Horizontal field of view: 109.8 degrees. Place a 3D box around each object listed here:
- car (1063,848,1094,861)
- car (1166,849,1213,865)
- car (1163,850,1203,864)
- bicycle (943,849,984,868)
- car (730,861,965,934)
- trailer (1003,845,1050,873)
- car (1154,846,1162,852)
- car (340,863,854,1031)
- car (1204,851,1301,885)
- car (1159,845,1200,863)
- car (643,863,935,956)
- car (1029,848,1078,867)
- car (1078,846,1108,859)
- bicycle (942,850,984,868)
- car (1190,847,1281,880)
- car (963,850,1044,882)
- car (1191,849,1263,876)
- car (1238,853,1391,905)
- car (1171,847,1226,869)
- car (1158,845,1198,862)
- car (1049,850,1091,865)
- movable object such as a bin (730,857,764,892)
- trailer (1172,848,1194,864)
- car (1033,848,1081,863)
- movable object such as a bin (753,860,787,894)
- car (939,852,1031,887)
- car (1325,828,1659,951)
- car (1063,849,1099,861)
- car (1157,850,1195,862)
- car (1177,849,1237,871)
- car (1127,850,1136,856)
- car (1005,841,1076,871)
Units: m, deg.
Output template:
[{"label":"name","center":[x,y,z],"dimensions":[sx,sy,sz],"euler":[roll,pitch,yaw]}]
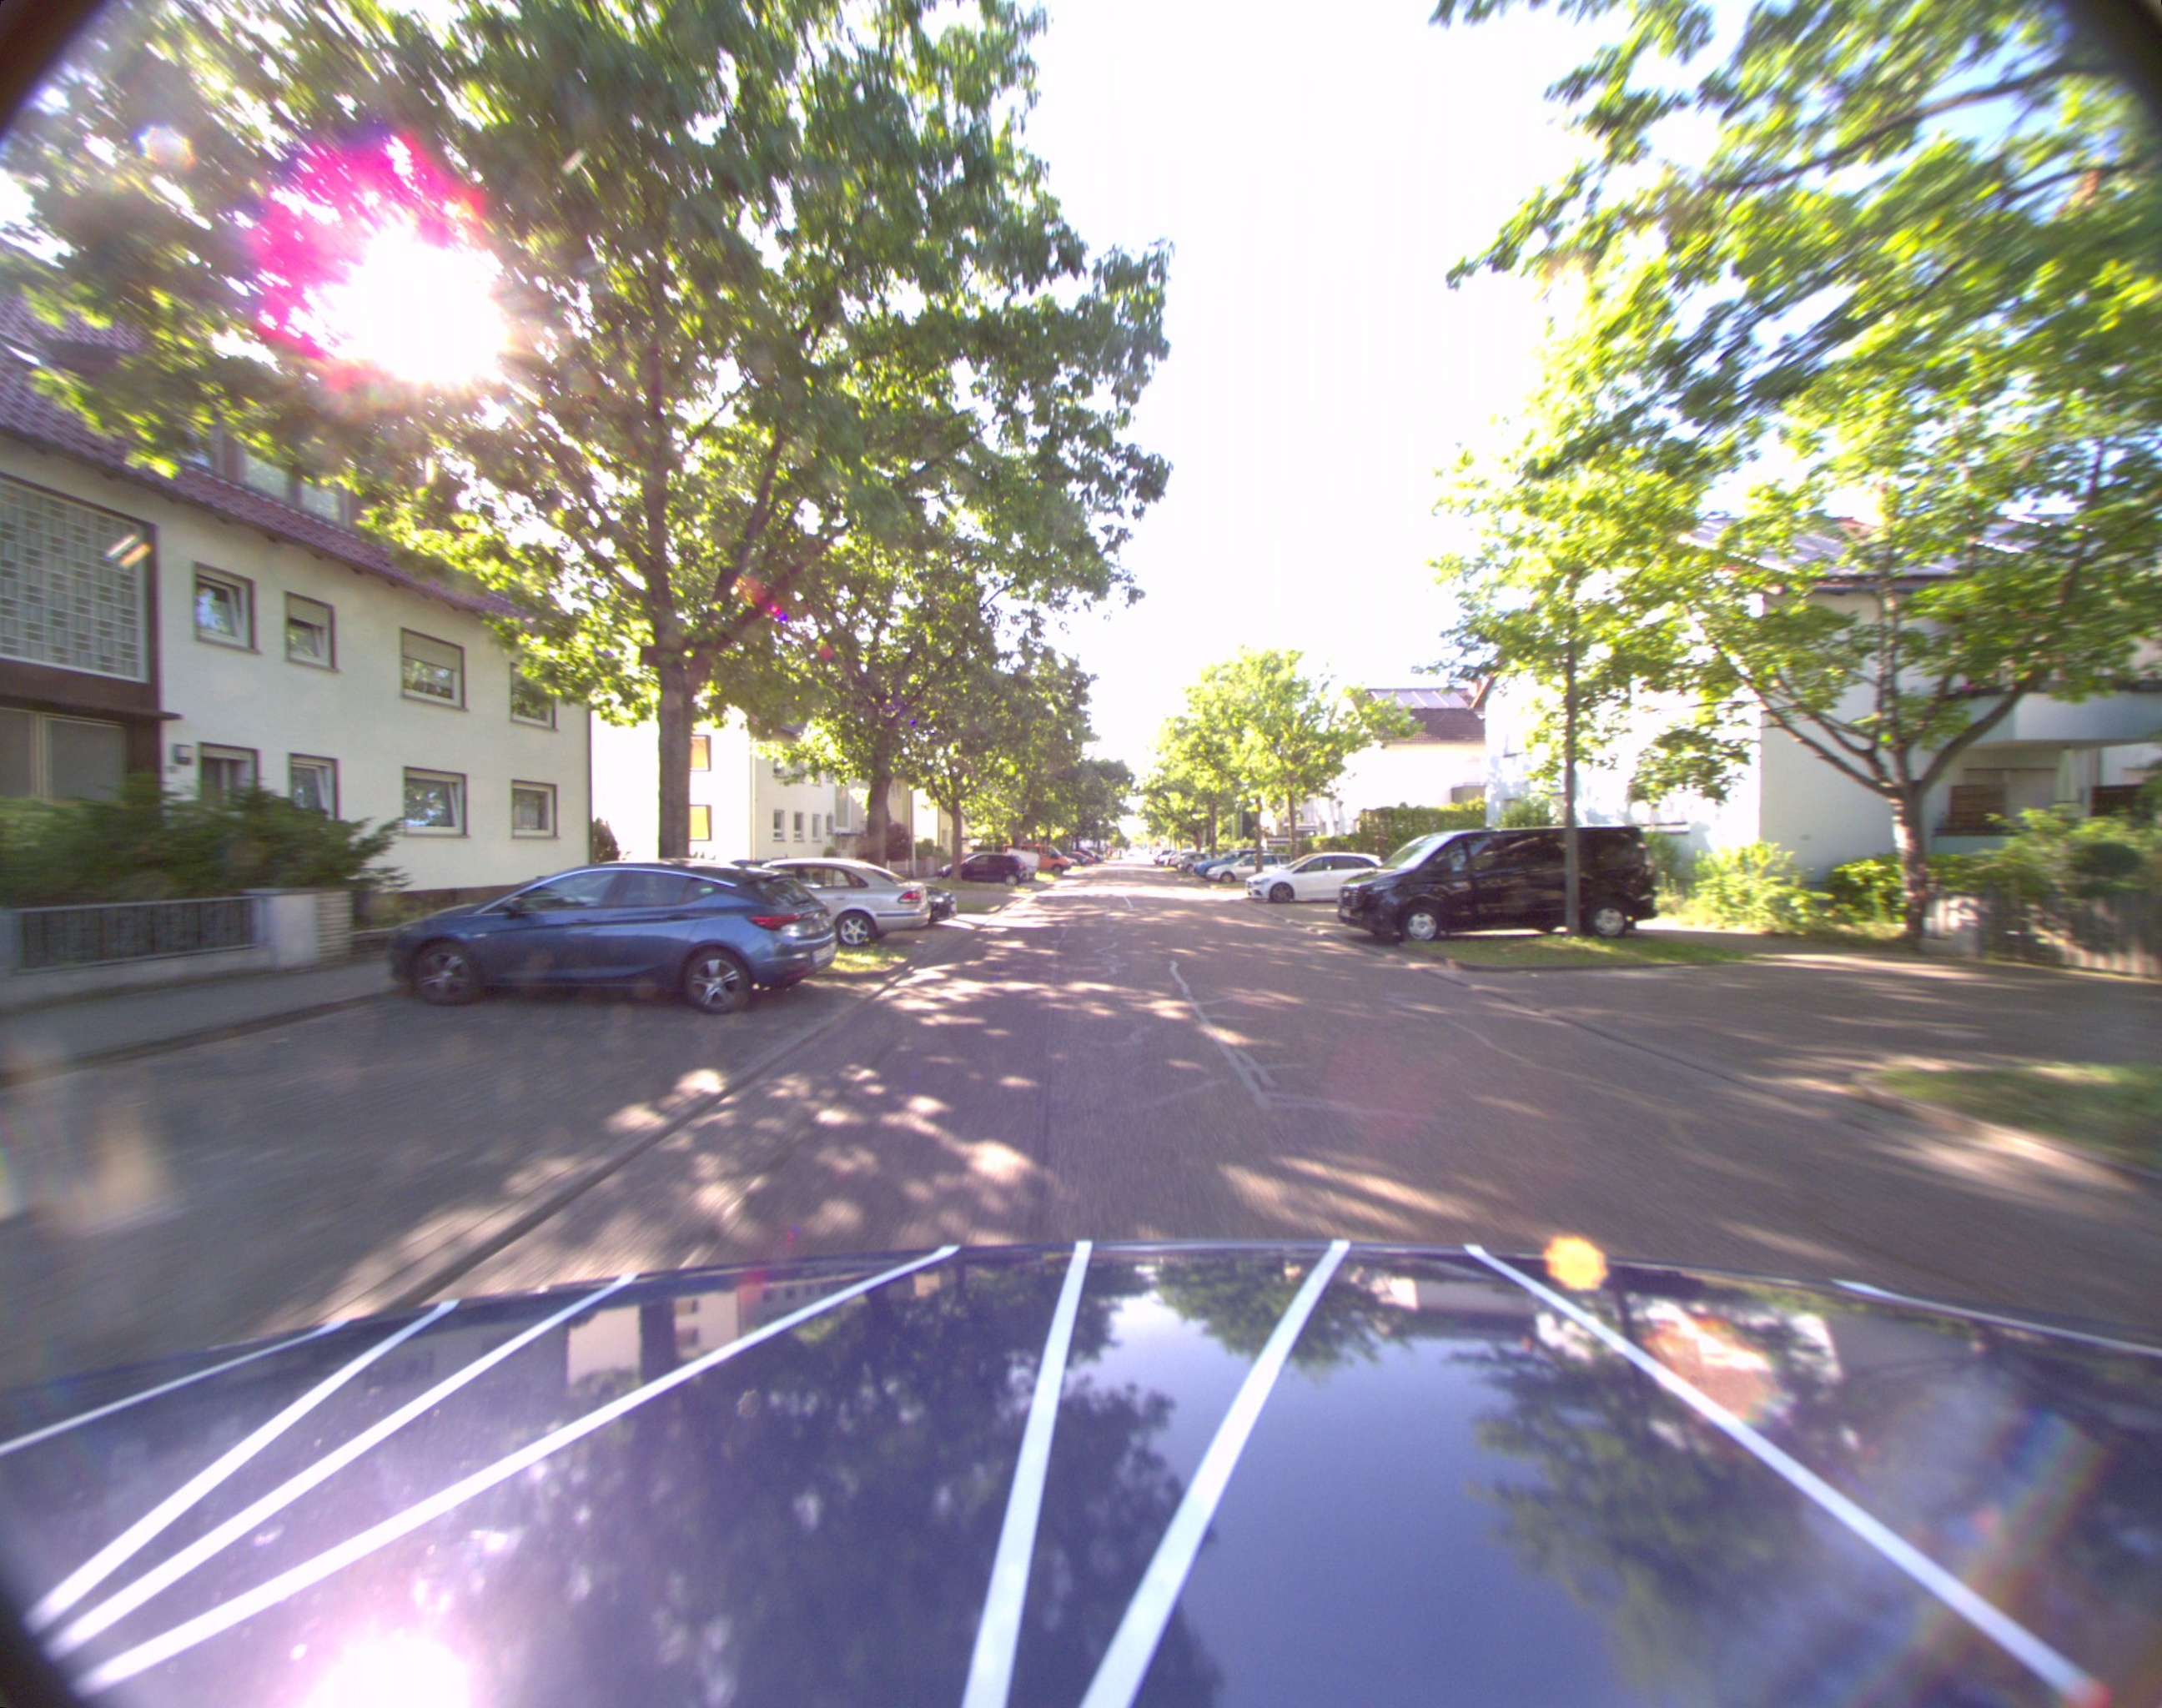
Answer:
[{"label":"car","center":[-0.311,0.024,97.082],"dimensions":[3.785,1.476,1.755],"euler":[1,2,5]},{"label":"car","center":[10.000,0.297,70.408],"dimensions":[4.219,1.463,1.691],"euler":[0,1,6]},{"label":"car","center":[10.780,0.296,80.613],"dimensions":[3.997,1.507,1.690],"euler":[0,1,1]},{"label":"bicycle","center":[-8.449,0.308,54.779],"dimensions":[2.865,1.230,0.468],"euler":[2,2,4]},{"label":"car","center":[-4.789,0.869,16.012],"dimensions":[4.356,1.355,1.873],"euler":[1,2,2]},{"label":"trailer","center":[-3.508,0.297,49.090],"dimensions":[2.954,1.655,1.614],"euler":[2,2,-3]},{"label":"car","center":[20.288,-1.333,199.544],"dimensions":[1.740,1.532,3.949],"euler":[0,1,10]},{"label":"car","center":[-4.821,0.870,8.005],"dimensions":[4.286,1.494,1.797],"euler":[0,1,2]},{"label":"car","center":[8.045,0.643,35.874],"dimensions":[4.192,1.483,1.647],"euler":[-1,1,2]},{"label":"car","center":[10.782,-0.031,83.200],"dimensions":[4.246,1.933,2.000],"euler":[0,1,1]},{"label":"car","center":[-4.791,0.901,12.951],"dimensions":[4.288,1.406,1.796],"euler":[0,1,-3]},{"label":"car","center":[-2.473,0.303,69.625],"dimensions":[4.348,1.551,1.868],"euler":[1,1,3]},{"label":"car","center":[1.772,-0.275,110.253],"dimensions":[4.220,1.771,1.790],"euler":[2,1,5]},{"label":"bicycle","center":[-8.434,0.340,54.282],"dimensions":[2.865,1.230,0.468],"euler":[1,1,4]},{"label":"car","center":[8.174,0.491,40.580],"dimensions":[4.534,1.622,1.938],"euler":[-1,1,4]},{"label":"car","center":[-3.978,0.609,39.532],"dimensions":[3.997,1.614,1.756],"euler":[0,2,-1]},{"label":"car","center":[8.645,0.496,45.272],"dimensions":[3.996,1.586,1.858],"euler":[0,1,3]},{"label":"car","center":[7.272,0.757,23.950],"dimensions":[4.286,1.469,1.769],"euler":[-2,1,3]},{"label":"car","center":[9.304,0.306,60.286],"dimensions":[4.196,1.558,1.792],"euler":[-2,1,5]},{"label":"car","center":[10.902,-0.107,85.583],"dimensions":[4.249,1.760,1.967],"euler":[-1,1,1]},{"label":"car","center":[-1.125,0.373,81.461],"dimensions":[4.329,1.521,1.841],"euler":[1,1,3]},{"label":"movable object such as a bin","center":[-11.105,0.673,25.305],"dimensions":[0.704,1.092,0.906],"euler":[0,2,1]},{"label":"trailer","center":[10.523,0.196,78.269],"dimensions":[2.240,1.664,1.475],"euler":[0,1,8]},{"label":"car","center":[-2.339,0.157,75.024],"dimensions":[4.436,1.324,1.691],"euler":[2,1,6]},{"label":"movable object such as a bin","center":[-10.335,0.756,25.280],"dimensions":[0.704,1.105,0.906],"euler":[0,2,1]},{"label":"car","center":[-4.271,0.687,34.207],"dimensions":[3.891,1.507,1.661],"euler":[0,2,3]},{"label":"car","center":[7.048,0.577,13.444],"dimensions":[4.791,1.906,2.018],"euler":[-1,1,0]},{"label":"car","center":[0.014,0.092,101.119],"dimensions":[4.512,1.437,1.839],"euler":[1,1,5]},{"label":"car","center":[11.583,0.210,92.706],"dimensions":[4.487,1.491,1.836],"euler":[0,1,2]},{"label":"car","center":[9.058,0.413,54.949],"dimensions":[4.043,1.415,1.810],"euler":[-2,1,2]},{"label":"car","center":[12.508,-0.279,188.279],"dimensions":[1.943,1.412,4.002],"euler":[0,1,7]},{"label":"car","center":[-2.843,0.140,53.756],"dimensions":[4.829,2.071,2.086],"euler":[0,1,3]}]
